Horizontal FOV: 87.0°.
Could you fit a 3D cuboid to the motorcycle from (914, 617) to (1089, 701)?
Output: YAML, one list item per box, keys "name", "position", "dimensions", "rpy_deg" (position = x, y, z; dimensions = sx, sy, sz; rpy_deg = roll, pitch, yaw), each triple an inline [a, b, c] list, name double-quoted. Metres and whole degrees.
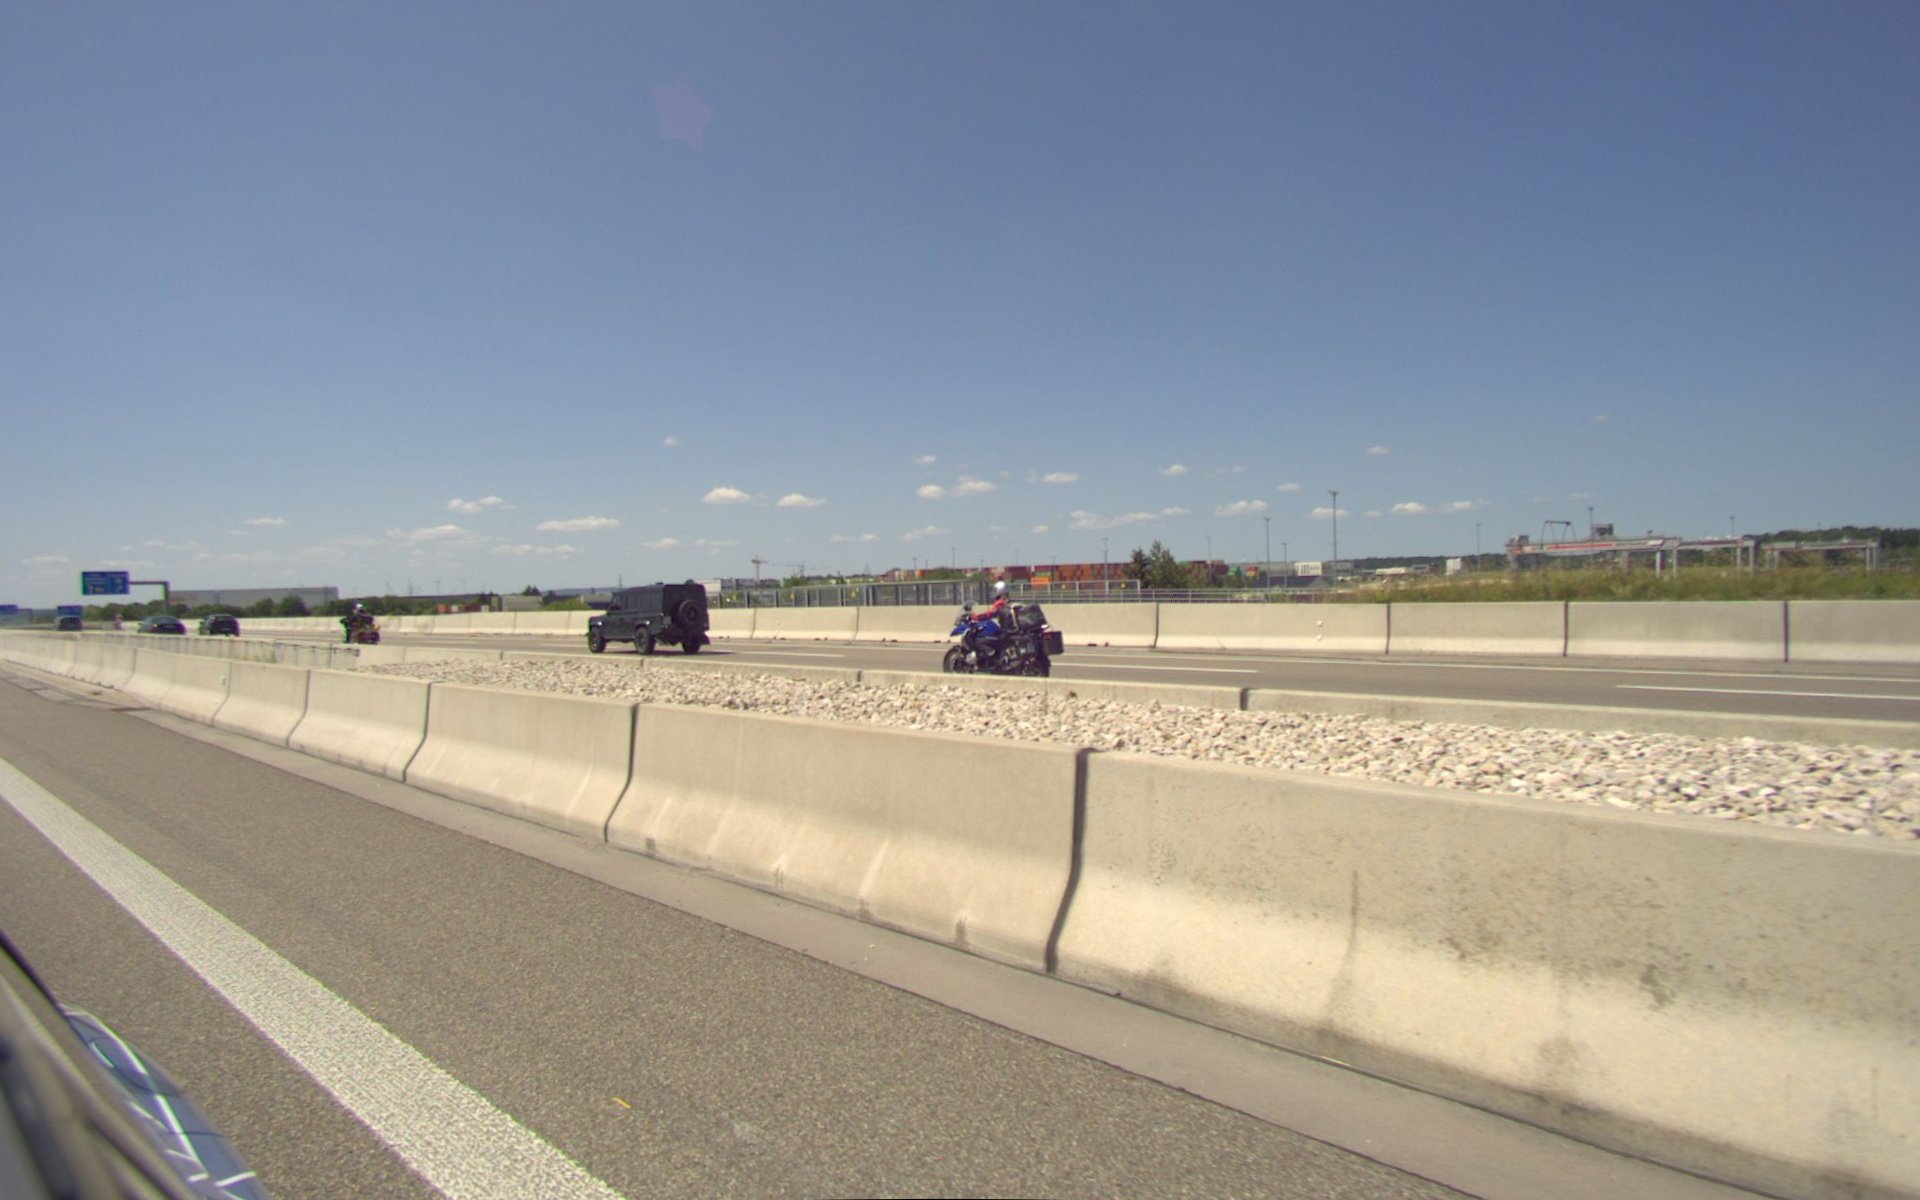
- name: "motorcycle"
  position: [0.592, 0.865, 15.650]
  dimensions: [2.722, 1.178, 0.948]
  rpy_deg: [-1, -1, 42]

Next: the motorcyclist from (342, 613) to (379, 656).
- name: "motorcyclist"
  position: [-21.544, 1.222, 36.389]
  dimensions: [0.923, 1.508, 0.908]
  rpy_deg: [-2, -1, 42]

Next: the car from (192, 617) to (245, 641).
- name: "car"
  position: [-48.617, 1.875, 66.336]
  dimensions: [4.282, 1.470, 1.890]
  rpy_deg: [-2, -1, 41]

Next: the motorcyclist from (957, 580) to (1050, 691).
- name: "motorcyclist"
  position: [0.669, 0.523, 15.580]
  dimensions: [1.088, 1.633, 0.910]
  rpy_deg: [-1, -1, 42]

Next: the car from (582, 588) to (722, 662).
- name: "car"
  position: [-9.204, 0.727, 30.032]
  dimensions: [4.734, 2.033, 1.864]
  rpy_deg: [-2, -1, 43]

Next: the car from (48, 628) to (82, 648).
- name: "car"
  position: [-81.752, 3.471, 92.455]
  dimensions: [5.015, 1.699, 1.864]
  rpy_deg: [-2, -1, 43]

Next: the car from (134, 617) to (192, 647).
- name: "car"
  position: [-47.073, 1.861, 59.737]
  dimensions: [4.649, 1.681, 1.972]
  rpy_deg: [-2, -1, 43]

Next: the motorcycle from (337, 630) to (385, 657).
- name: "motorcycle"
  position: [-21.580, 1.544, 36.416]
  dimensions: [2.705, 0.909, 0.767]
  rpy_deg: [-2, -1, 43]
